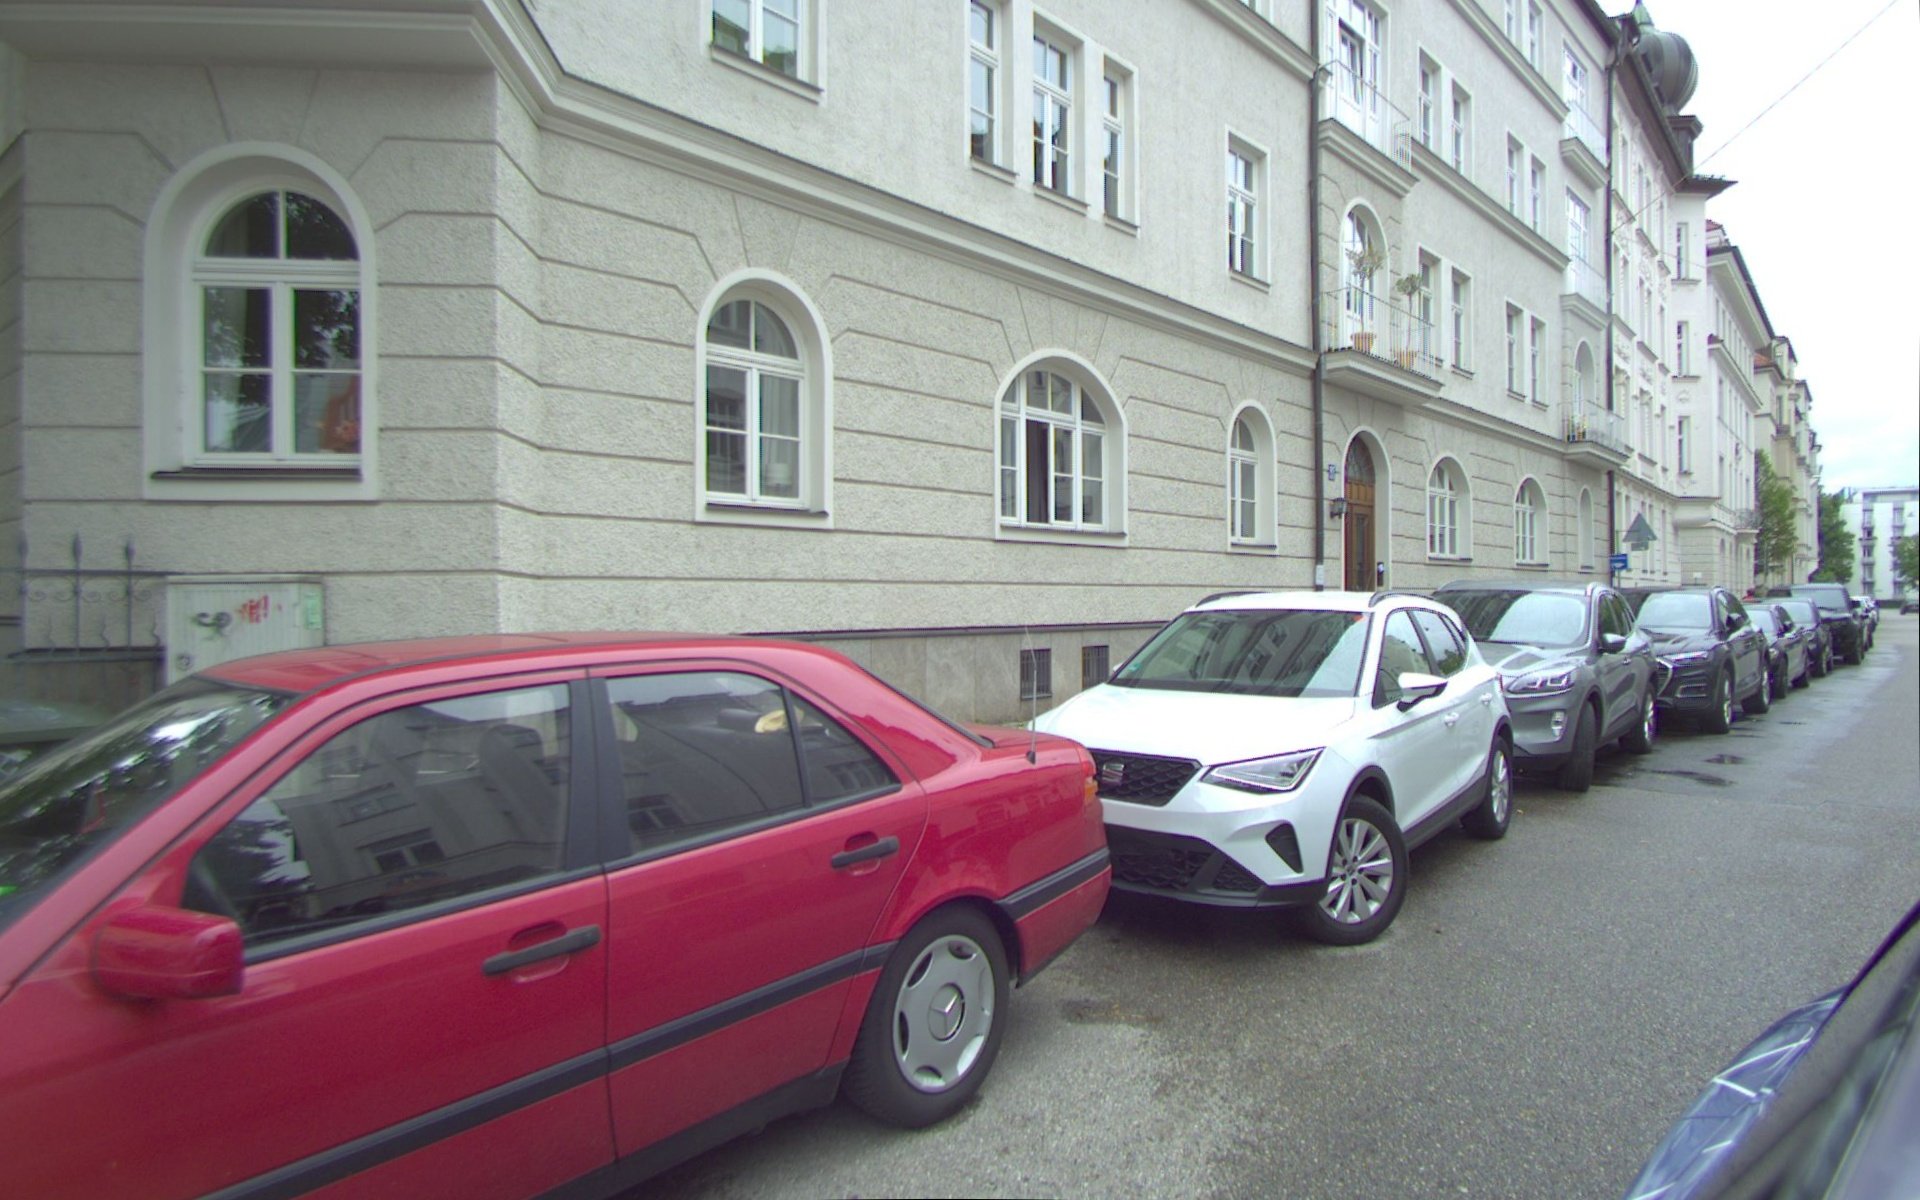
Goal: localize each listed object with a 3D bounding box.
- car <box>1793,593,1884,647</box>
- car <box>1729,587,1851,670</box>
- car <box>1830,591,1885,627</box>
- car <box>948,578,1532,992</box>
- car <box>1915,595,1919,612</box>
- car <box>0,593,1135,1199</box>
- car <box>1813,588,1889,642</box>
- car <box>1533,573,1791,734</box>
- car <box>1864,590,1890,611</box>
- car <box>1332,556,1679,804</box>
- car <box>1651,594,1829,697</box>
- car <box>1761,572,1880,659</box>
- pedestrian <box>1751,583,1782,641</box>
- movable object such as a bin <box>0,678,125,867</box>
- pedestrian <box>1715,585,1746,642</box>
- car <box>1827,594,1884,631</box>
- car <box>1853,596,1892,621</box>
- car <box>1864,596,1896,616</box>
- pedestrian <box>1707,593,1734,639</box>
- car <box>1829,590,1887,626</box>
[{"bbox_3d":[24.891,0.540,28.640,3.523,1.413,1.664,-1,-2,-45],"label":"car"},{"bbox_3d":[17.083,0.541,20.778,1.655,1.545,3.579,-1,-1,44],"label":"car"},{"bbox_3d":[39.659,0.357,44.771,1.706,1.520,3.941,-1,0,40],"label":"car"},{"bbox_3d":[1.848,0.667,5.761,1.748,1.515,3.852,-1,0,40],"label":"car"},{"bbox_3d":[98.201,0.355,102.670,1.723,1.552,4.026,0,2,41],"label":"car"},{"bbox_3d":[-1.427,0.725,2.557,1.669,1.453,4.147,-1,-1,43],"label":"car"},{"bbox_3d":[28.656,0.474,32.573,1.705,1.608,3.940,-2,-2,41],"label":"car"},{"bbox_3d":[8.806,0.560,12.538,4.302,1.657,1.778,0,-1,-44],"label":"car"},{"bbox_3d":[92.535,0.049,102.156,1.787,1.963,4.025,-2,-1,40],"label":"car"},{"bbox_3d":[5.179,0.540,9.296,1.789,1.735,4.358,0,0,43],"label":"car"},{"bbox_3d":[12.951,0.656,16.716,4.130,1.489,1.708,0,0,-43],"label":"car"},{"bbox_3d":[20.825,0.361,24.425,1.910,1.909,4.640,-3,-2,43],"label":"car"},{"bbox_3d":[24.622,0.365,30.904,0.702,1.750,0.693,1,0,41],"label":"pedestrian"},{"bbox_3d":[-5.155,0.893,5.219,0.900,0.854,1.200,0,0,42],"label":"movable object such as a bin"},{"bbox_3d":[23.590,0.390,30.977,0.679,1.695,0.644,2,1,41],"label":"pedestrian"},{"bbox_3d":[36.260,0.501,40.962,1.611,1.413,3.939,-2,-1,42],"label":"car"},{"bbox_3d":[56.644,0.539,62.887,1.661,1.527,4.004,-1,-1,41],"label":"car"},{"bbox_3d":[66.948,0.418,73.636,1.641,1.436,3.937,-2,-1,44],"label":"car"},{"bbox_3d":[29.033,0.614,38.635,0.682,1.700,0.799,2,1,43],"label":"pedestrian"},{"bbox_3d":[42.677,0.386,48.064,1.896,1.657,4.320,0,-1,44],"label":"car"}]
